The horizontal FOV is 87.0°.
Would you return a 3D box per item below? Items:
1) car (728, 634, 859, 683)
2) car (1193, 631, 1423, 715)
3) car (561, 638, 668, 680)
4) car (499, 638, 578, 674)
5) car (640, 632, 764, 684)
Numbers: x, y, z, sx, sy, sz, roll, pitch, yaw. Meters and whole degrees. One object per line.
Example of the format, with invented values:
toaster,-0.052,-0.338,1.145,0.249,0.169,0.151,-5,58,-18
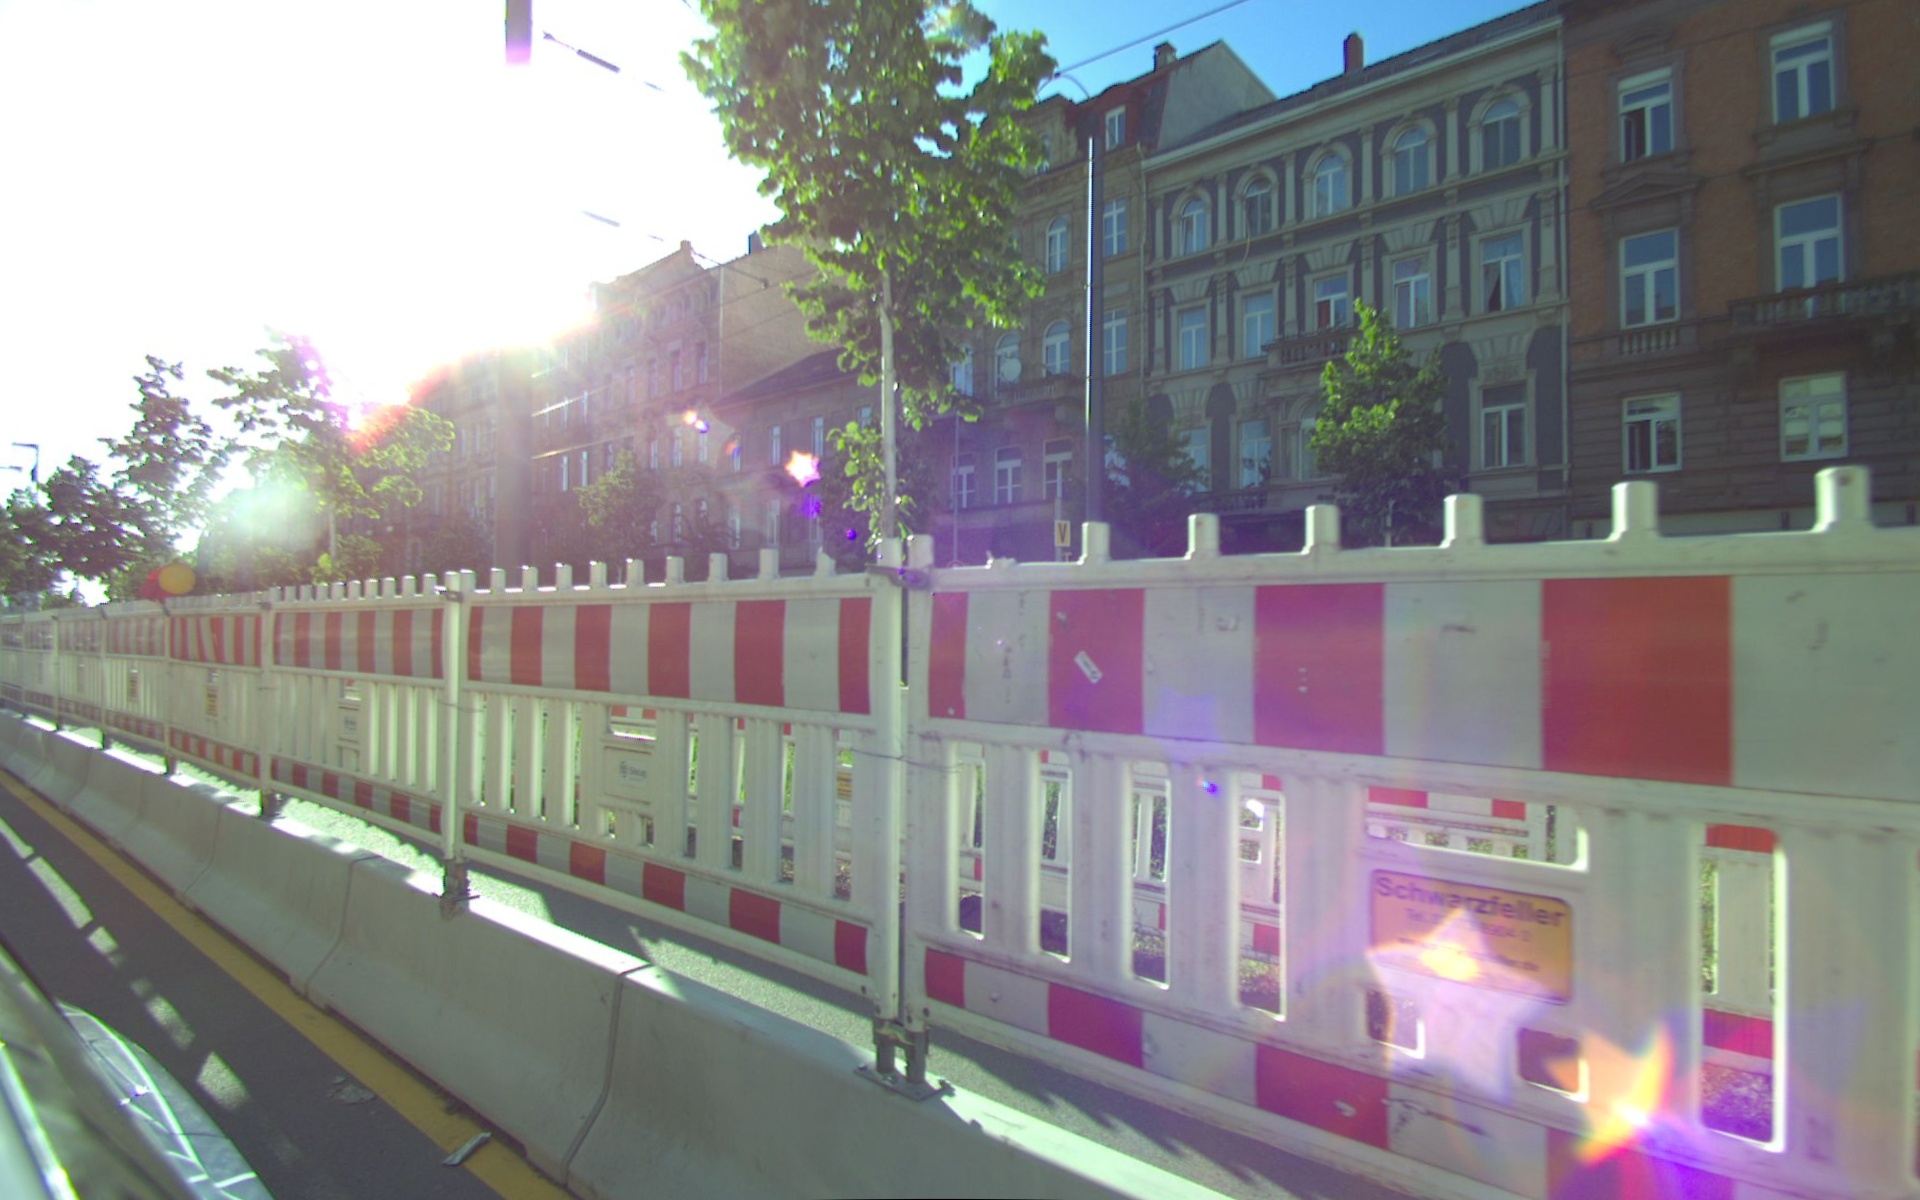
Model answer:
car,-5.537,1.886,33.382,4.306,1.449,1.973,-2,-1,41
car,7.830,1.573,23.054,4.544,1.671,1.917,-2,-1,43
car,-14.204,2.354,41.466,4.982,1.549,1.972,-2,-1,42
car,-19.178,2.510,45.928,4.026,1.490,1.730,-2,-1,42
car,-9.566,2.092,37.247,4.885,1.710,1.973,-2,-1,41
